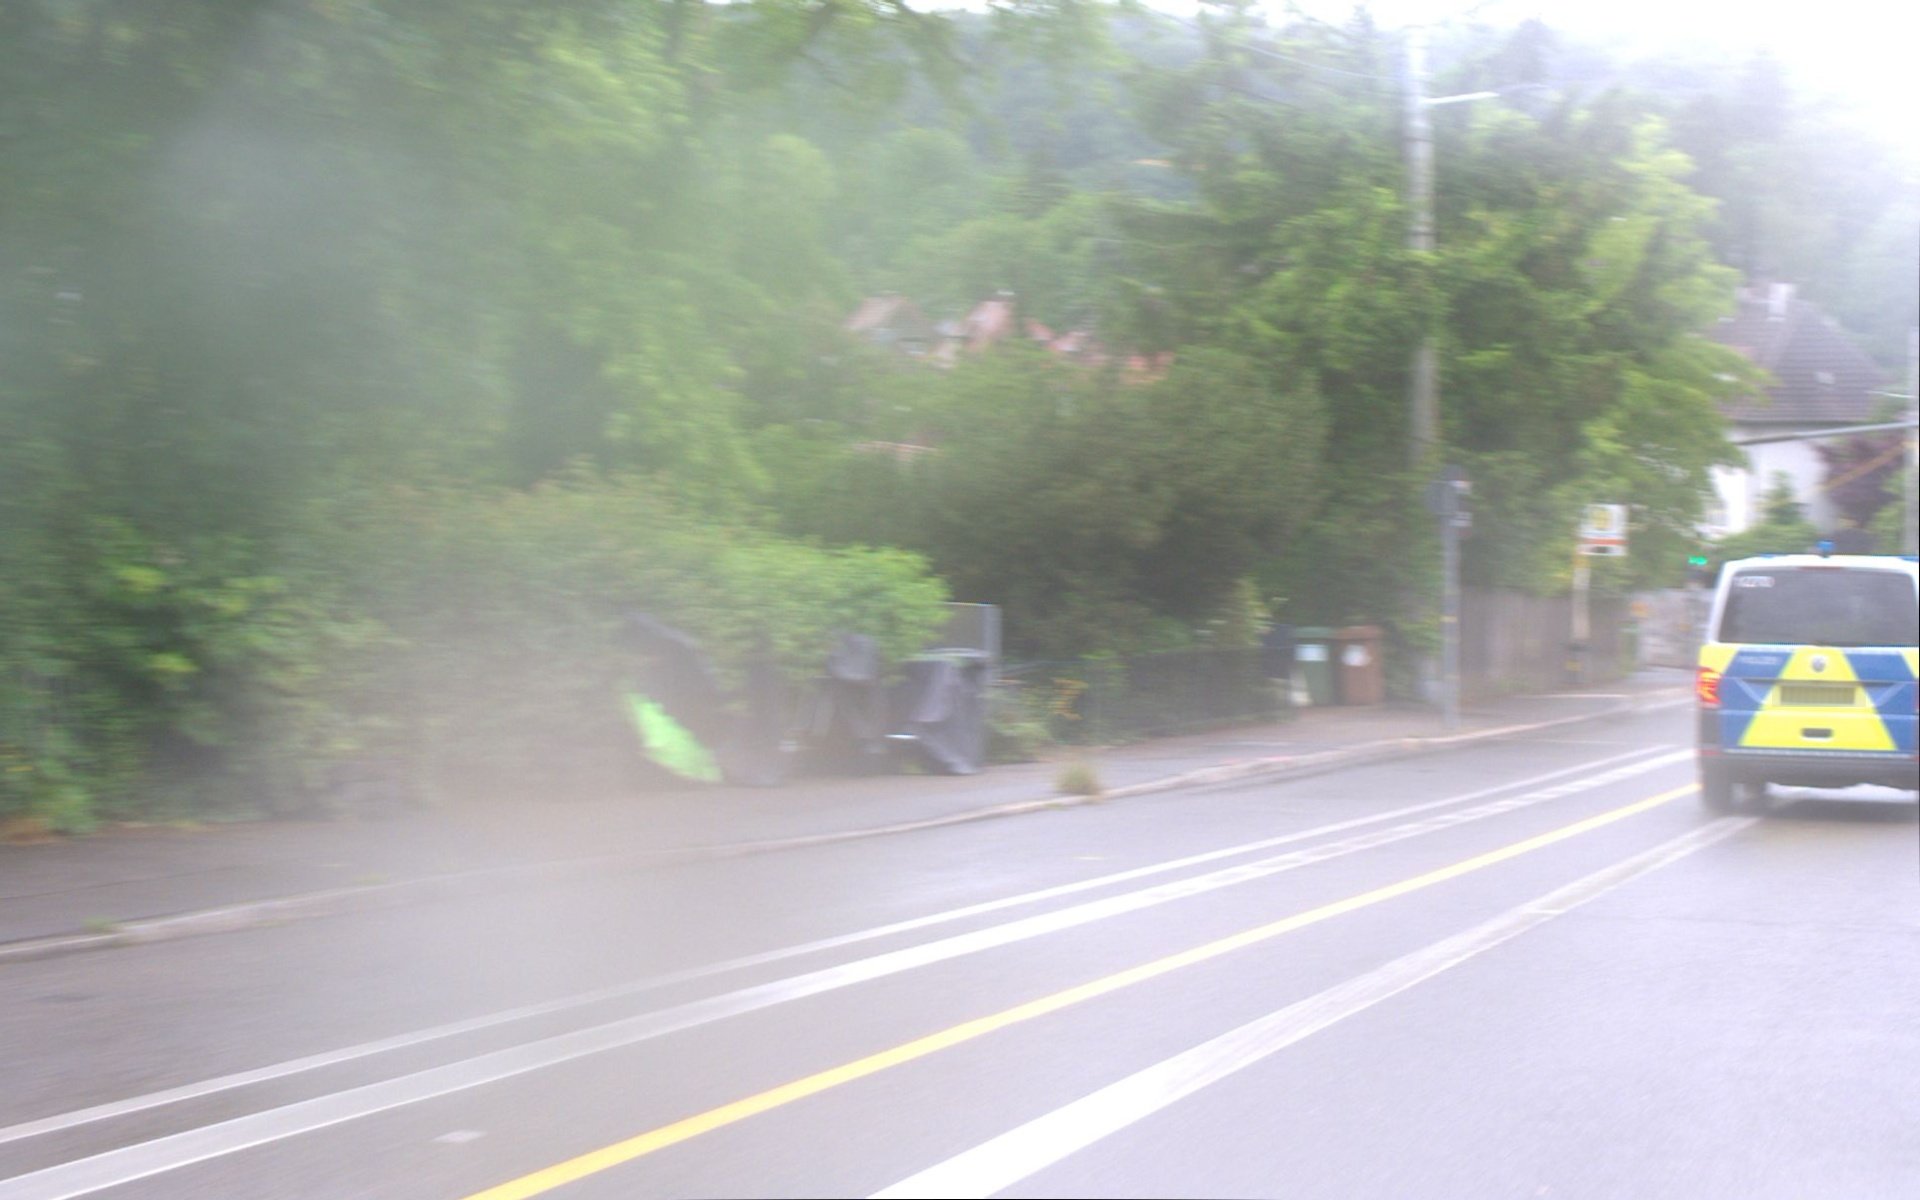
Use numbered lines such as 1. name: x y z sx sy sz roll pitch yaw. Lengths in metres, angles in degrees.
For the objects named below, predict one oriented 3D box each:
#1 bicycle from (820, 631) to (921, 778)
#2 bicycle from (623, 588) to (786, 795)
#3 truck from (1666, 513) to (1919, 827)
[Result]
1. bicycle: -0.685 0.800 26.517 0.338 1.104 1.255 1 -1 19
2. bicycle: -1.720 0.616 23.393 0.421 1.345 1.741 1 -1 19
3. truck: 6.933 0.445 26.996 1.995 2.006 4.731 0 4 20
